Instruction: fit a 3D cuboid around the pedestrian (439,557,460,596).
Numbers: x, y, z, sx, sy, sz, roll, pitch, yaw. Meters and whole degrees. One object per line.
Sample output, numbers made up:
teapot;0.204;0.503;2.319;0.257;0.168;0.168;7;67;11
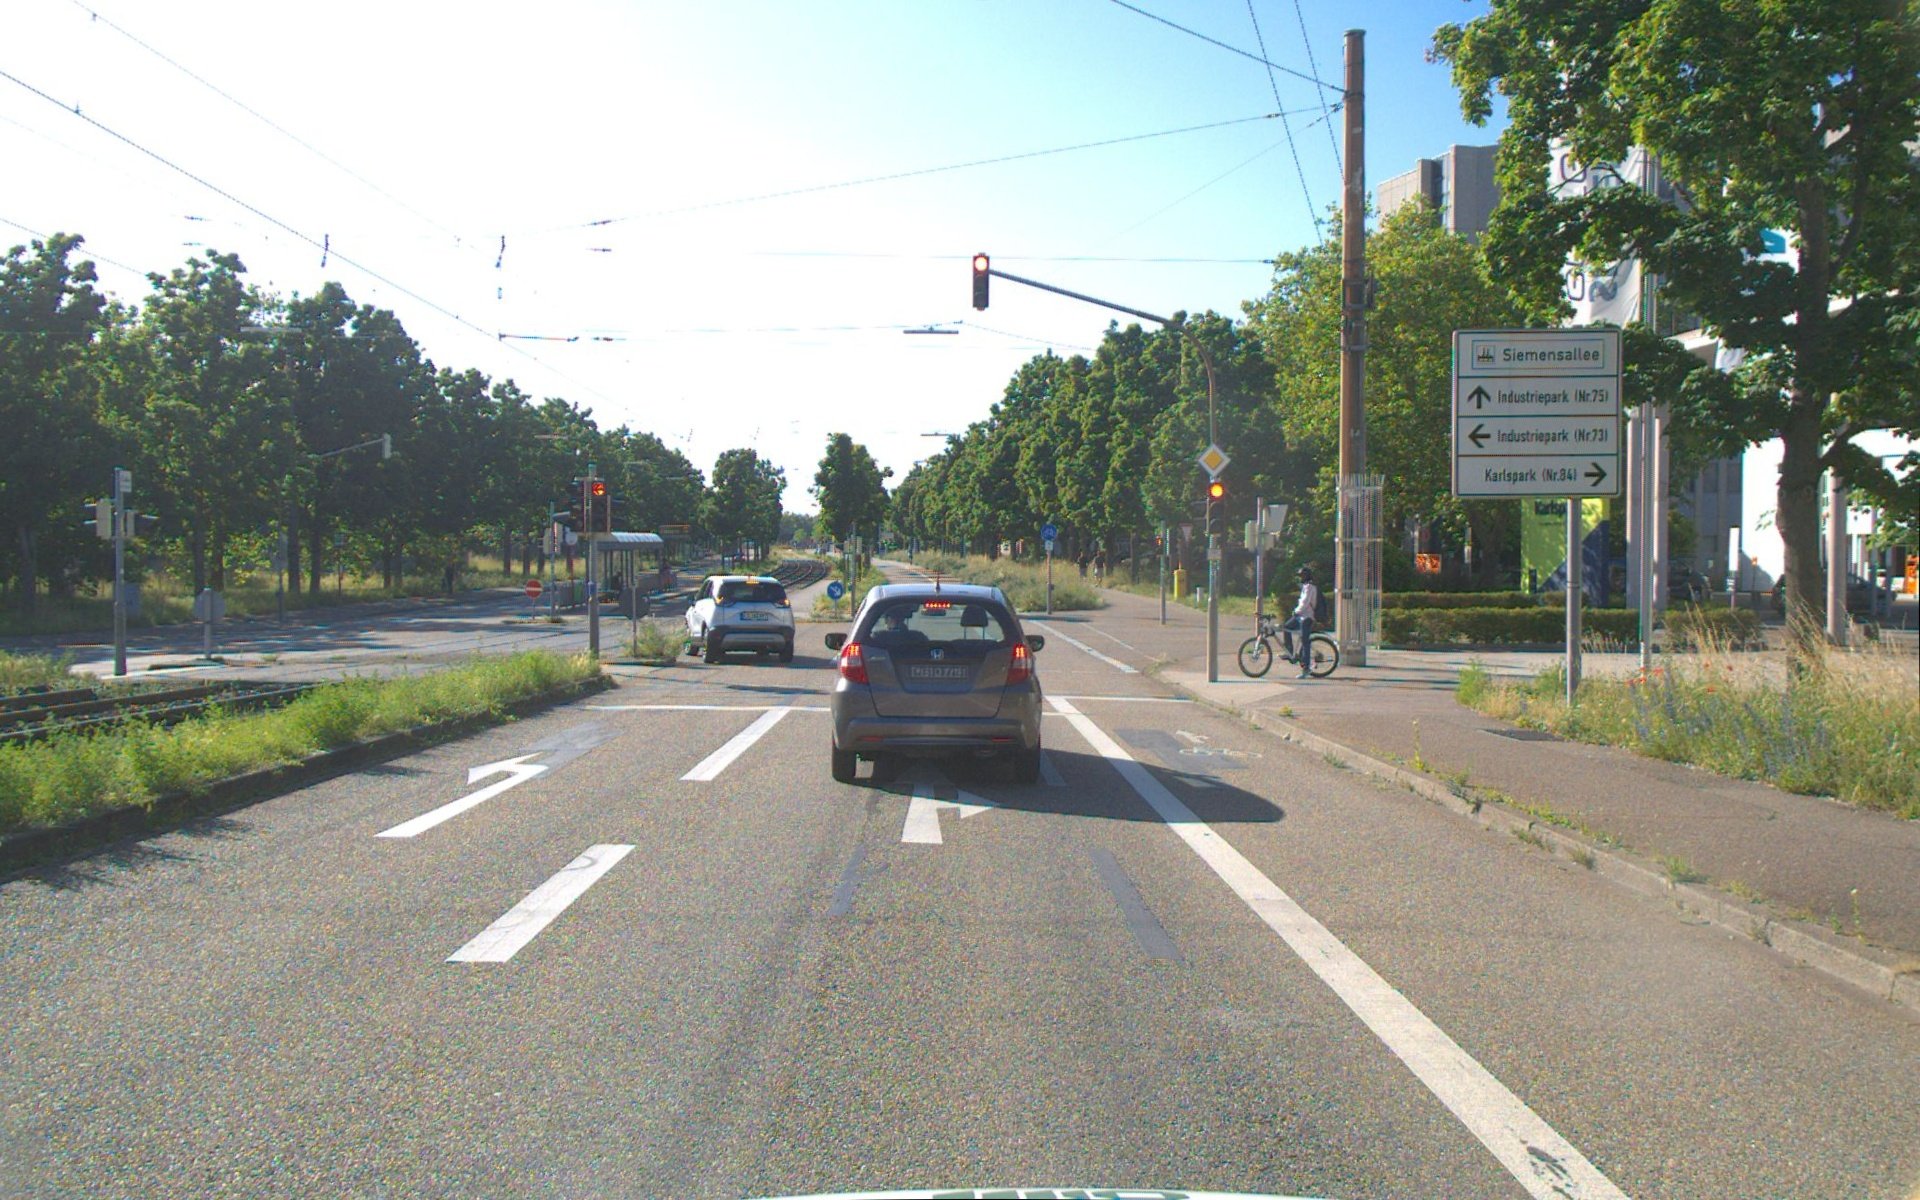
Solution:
pedestrian;-27.203;-1.235;88.146;0.823;2.049;0.863;0;1;-2

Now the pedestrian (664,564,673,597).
pedestrian;-15.504;-1.036;87.954;0.493;1.705;0.387;0;1;-12

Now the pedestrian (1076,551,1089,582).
pedestrian;6.503;-1.793;88.098;0.556;1.624;0.665;1;0;-4

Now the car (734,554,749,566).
car;-31.474;-5.772;238.352;1.731;1.768;3.998;0;0;-3

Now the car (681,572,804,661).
car;-4.328;0.280;32.421;1.820;1.634;4.236;0;1;-16

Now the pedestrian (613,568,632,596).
pedestrian;-14.979;-0.799;73.355;0.706;1.267;0.710;-1;1;-3

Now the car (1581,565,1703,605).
car;28.215;-0.616;68.487;4.458;1.658;1.870;0;0;-13

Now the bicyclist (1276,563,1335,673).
bicyclist;5.700;0.298;27.338;0.890;1.775;0.765;-1;0;10

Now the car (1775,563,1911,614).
car;31.130;-0.417;58.332;3.914;1.750;1.895;0;1;-10

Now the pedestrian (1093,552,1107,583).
pedestrian;7.466;-1.740;88.180;0.664;1.638;0.720;1;0;-3

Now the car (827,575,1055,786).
car;-0.141;0.577;14.268;1.672;1.535;4.000;1;1;0

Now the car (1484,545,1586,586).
car;25.997;-1.537;74.867;3.918;1.788;1.993;0;1;-13

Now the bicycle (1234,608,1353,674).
bicycle;5.503;0.679;27.376;1.879;1.015;0.765;-2;0;10
